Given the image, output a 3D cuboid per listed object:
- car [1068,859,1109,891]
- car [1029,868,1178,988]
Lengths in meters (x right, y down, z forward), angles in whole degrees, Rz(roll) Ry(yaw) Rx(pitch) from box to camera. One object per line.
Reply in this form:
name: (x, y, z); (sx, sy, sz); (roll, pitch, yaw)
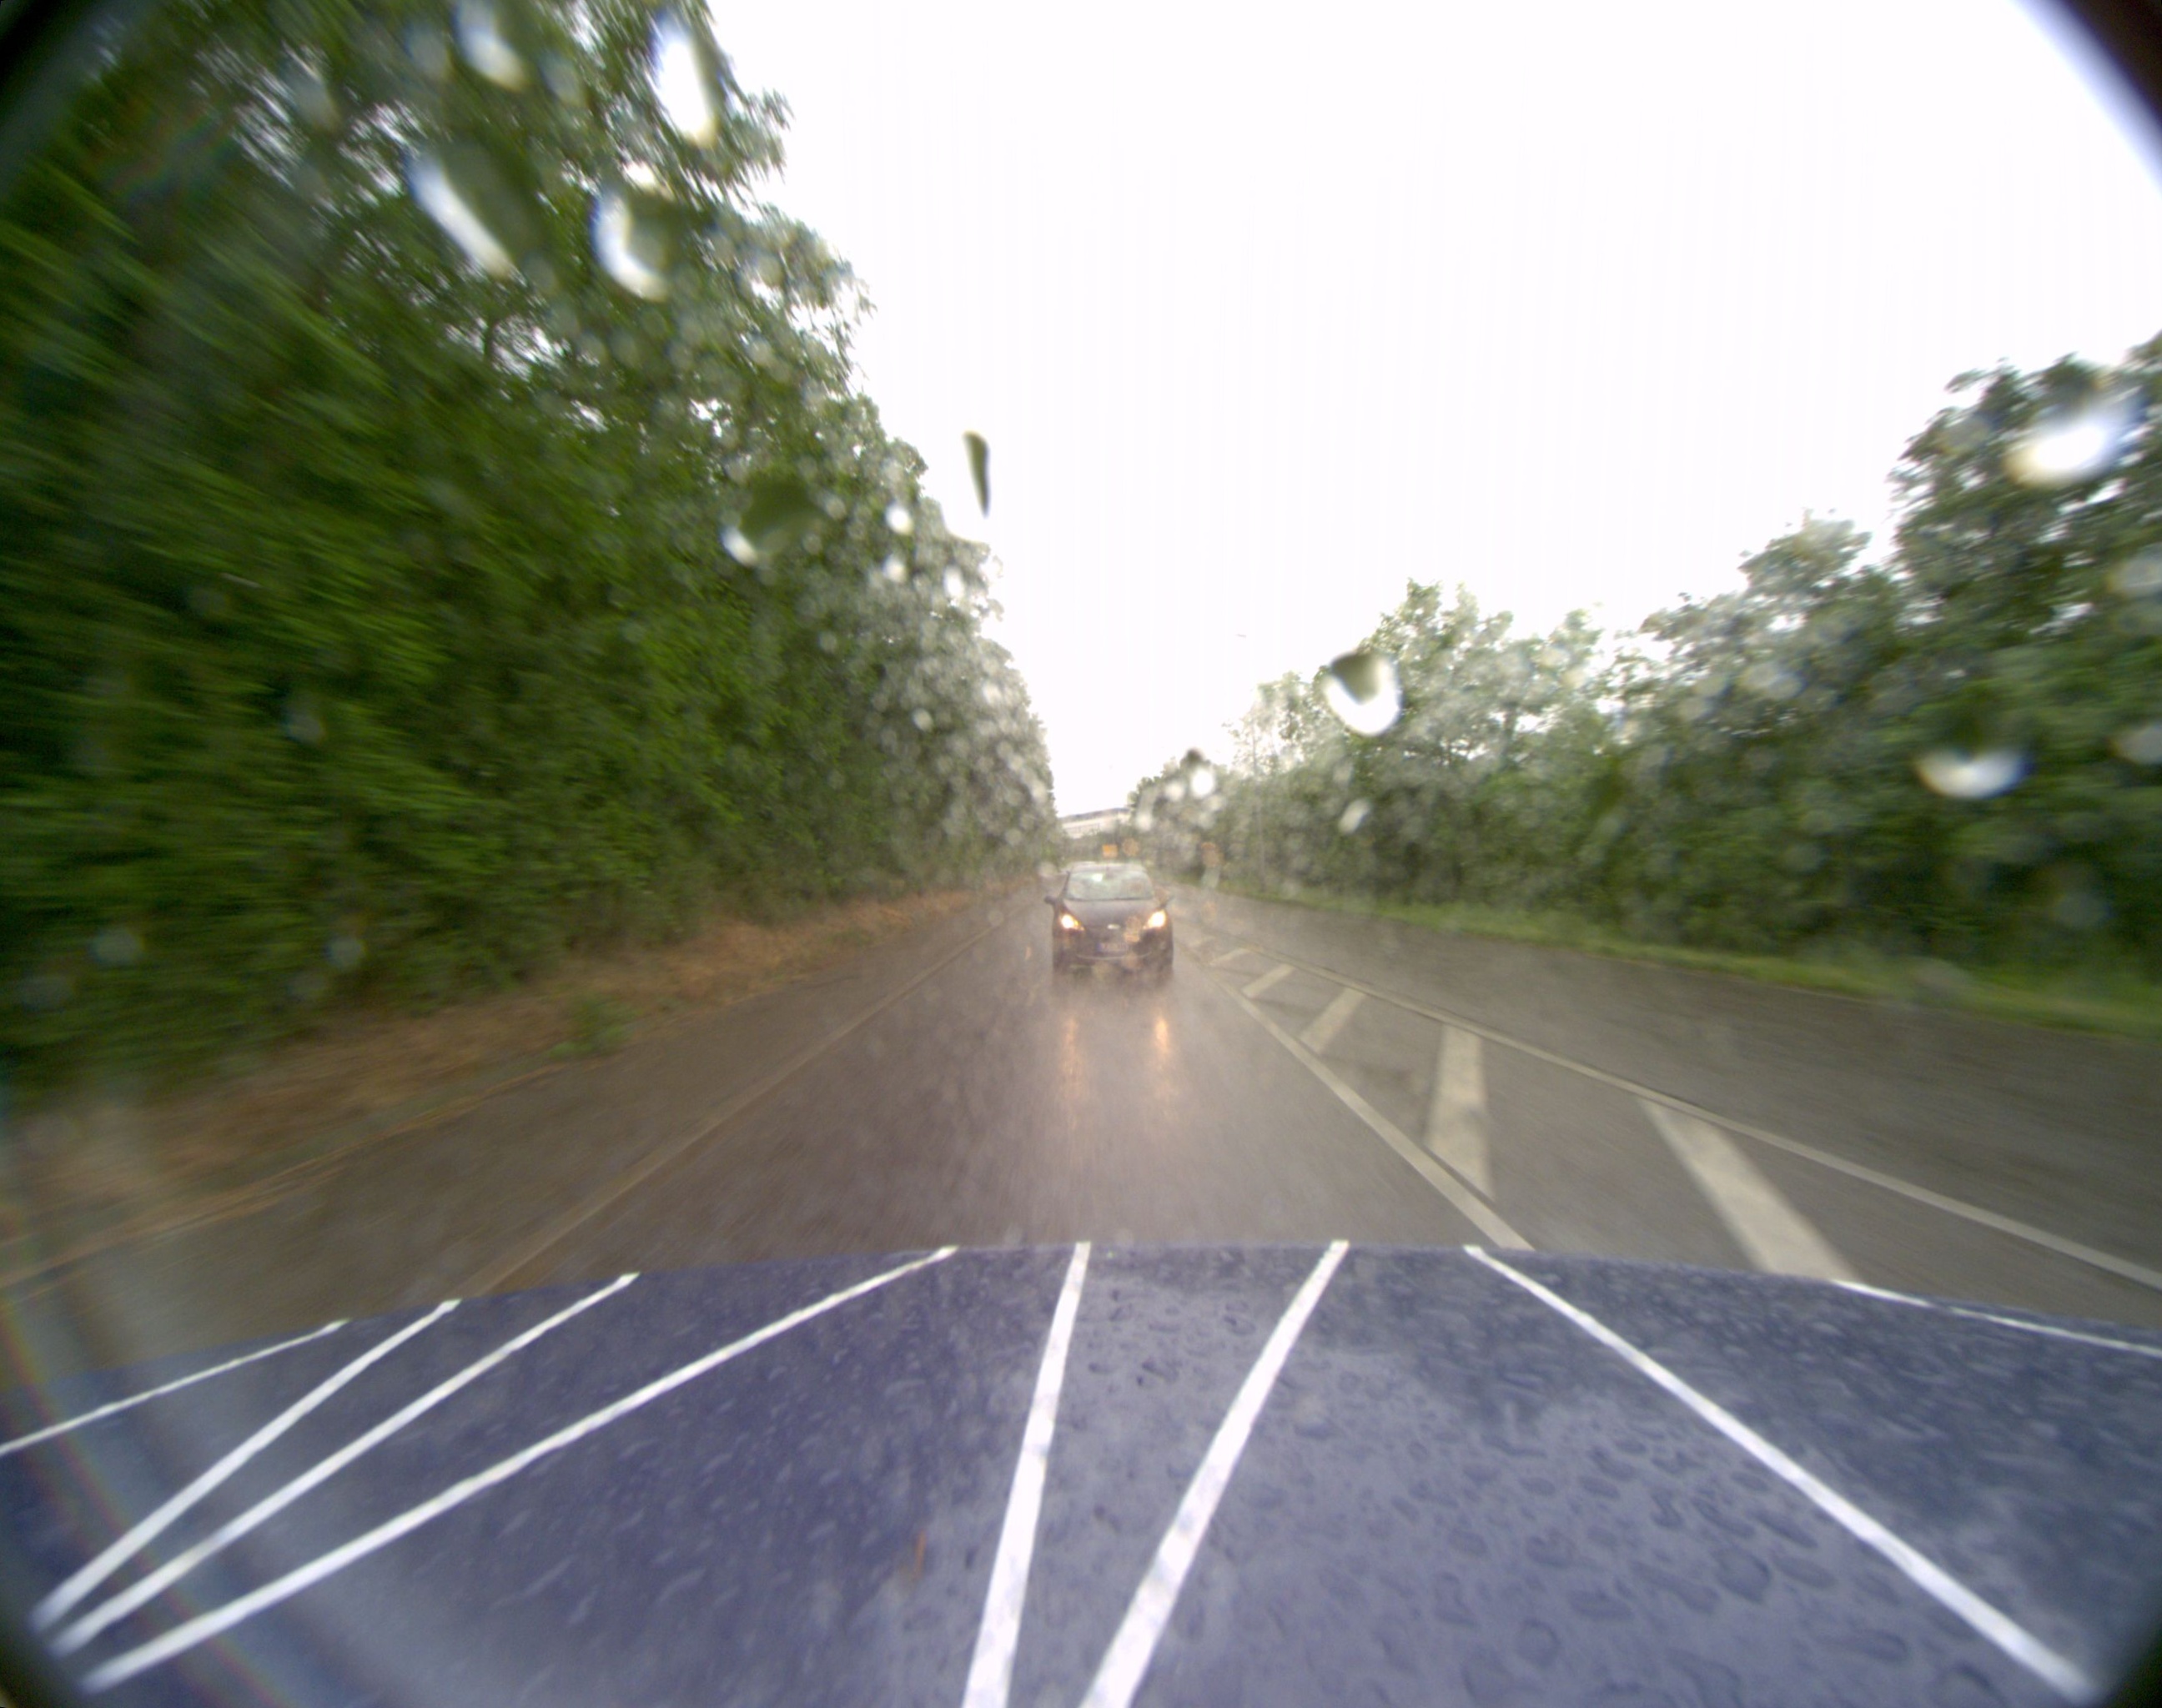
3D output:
car: (0.340, 1.045, 38.694); (1.874, 1.432, 4.377); (-3, 0, -1)
car: (0.254, 1.003, 12.027); (1.874, 1.432, 4.377); (-3, -1, -1)
